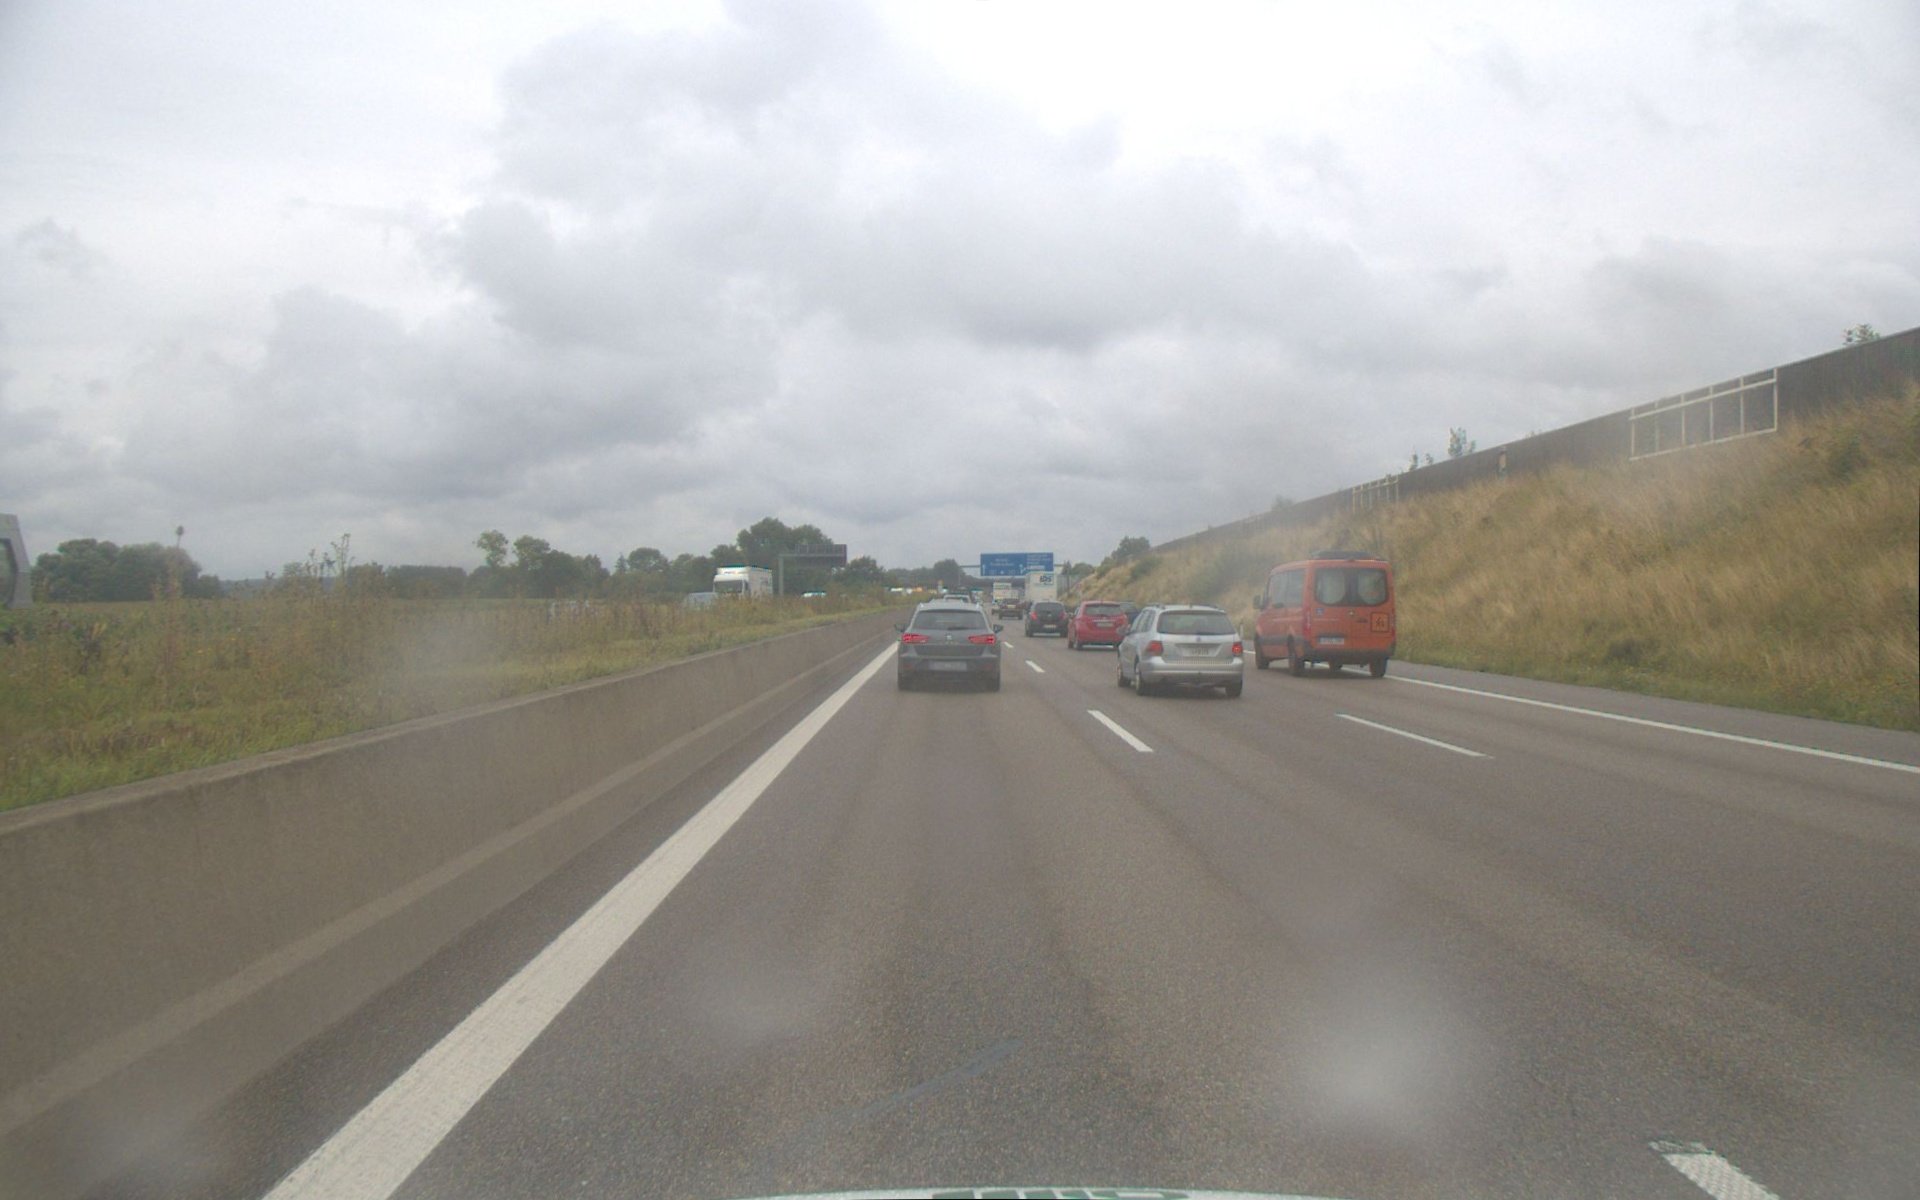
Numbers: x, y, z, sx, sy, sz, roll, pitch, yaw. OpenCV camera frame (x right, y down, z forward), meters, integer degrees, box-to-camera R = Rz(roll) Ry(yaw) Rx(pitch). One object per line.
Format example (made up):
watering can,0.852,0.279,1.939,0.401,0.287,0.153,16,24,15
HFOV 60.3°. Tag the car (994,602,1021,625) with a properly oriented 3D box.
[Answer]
car,3.527,0.996,123.969,1.808,1.716,3.999,1,0,-1

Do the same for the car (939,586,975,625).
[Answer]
car,-0.130,0.282,81.651,1.669,1.828,3.855,-2,0,0

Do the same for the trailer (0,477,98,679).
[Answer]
trailer,-17.432,-0.402,25.928,2.730,3.387,9.924,1,0,-1

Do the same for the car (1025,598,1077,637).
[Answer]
car,3.708,0.685,68.291,1.882,1.548,4.622,0,0,0

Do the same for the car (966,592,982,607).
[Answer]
car,1.798,-0.043,212.324,1.953,1.845,4.596,0,0,0

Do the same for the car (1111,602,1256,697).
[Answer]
car,3.678,0.769,27.975,1.706,1.450,4.515,-1,0,-2

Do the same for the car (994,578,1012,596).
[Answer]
car,5.128,-1.528,197.190,1.953,2.049,3.999,-1,0,-1

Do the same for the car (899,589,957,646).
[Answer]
car,-1.043,0.569,55.160,1.718,1.780,4.001,1,0,1

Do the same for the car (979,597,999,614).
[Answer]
car,2.686,0.483,153.502,1.716,1.544,4.000,0,0,0

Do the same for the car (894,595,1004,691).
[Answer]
car,-0.155,0.693,28.329,1.732,1.493,4.000,1,0,1

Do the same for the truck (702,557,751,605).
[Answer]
truck,-17.626,-1.425,125.081,2.909,3.488,5.627,1,0,-1

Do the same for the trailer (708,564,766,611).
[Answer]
trailer,-17.629,-0.939,131.636,2.855,3.488,13.240,1,0,0

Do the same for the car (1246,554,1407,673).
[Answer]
car,7.844,0.250,36.045,2.043,2.355,6.180,0,0,-1

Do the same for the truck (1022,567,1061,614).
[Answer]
truck,7.913,-0.829,162.719,3.215,4.370,19.035,1,0,1

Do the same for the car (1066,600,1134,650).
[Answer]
car,4.353,0.750,51.951,1.852,1.472,4.685,0,0,1
